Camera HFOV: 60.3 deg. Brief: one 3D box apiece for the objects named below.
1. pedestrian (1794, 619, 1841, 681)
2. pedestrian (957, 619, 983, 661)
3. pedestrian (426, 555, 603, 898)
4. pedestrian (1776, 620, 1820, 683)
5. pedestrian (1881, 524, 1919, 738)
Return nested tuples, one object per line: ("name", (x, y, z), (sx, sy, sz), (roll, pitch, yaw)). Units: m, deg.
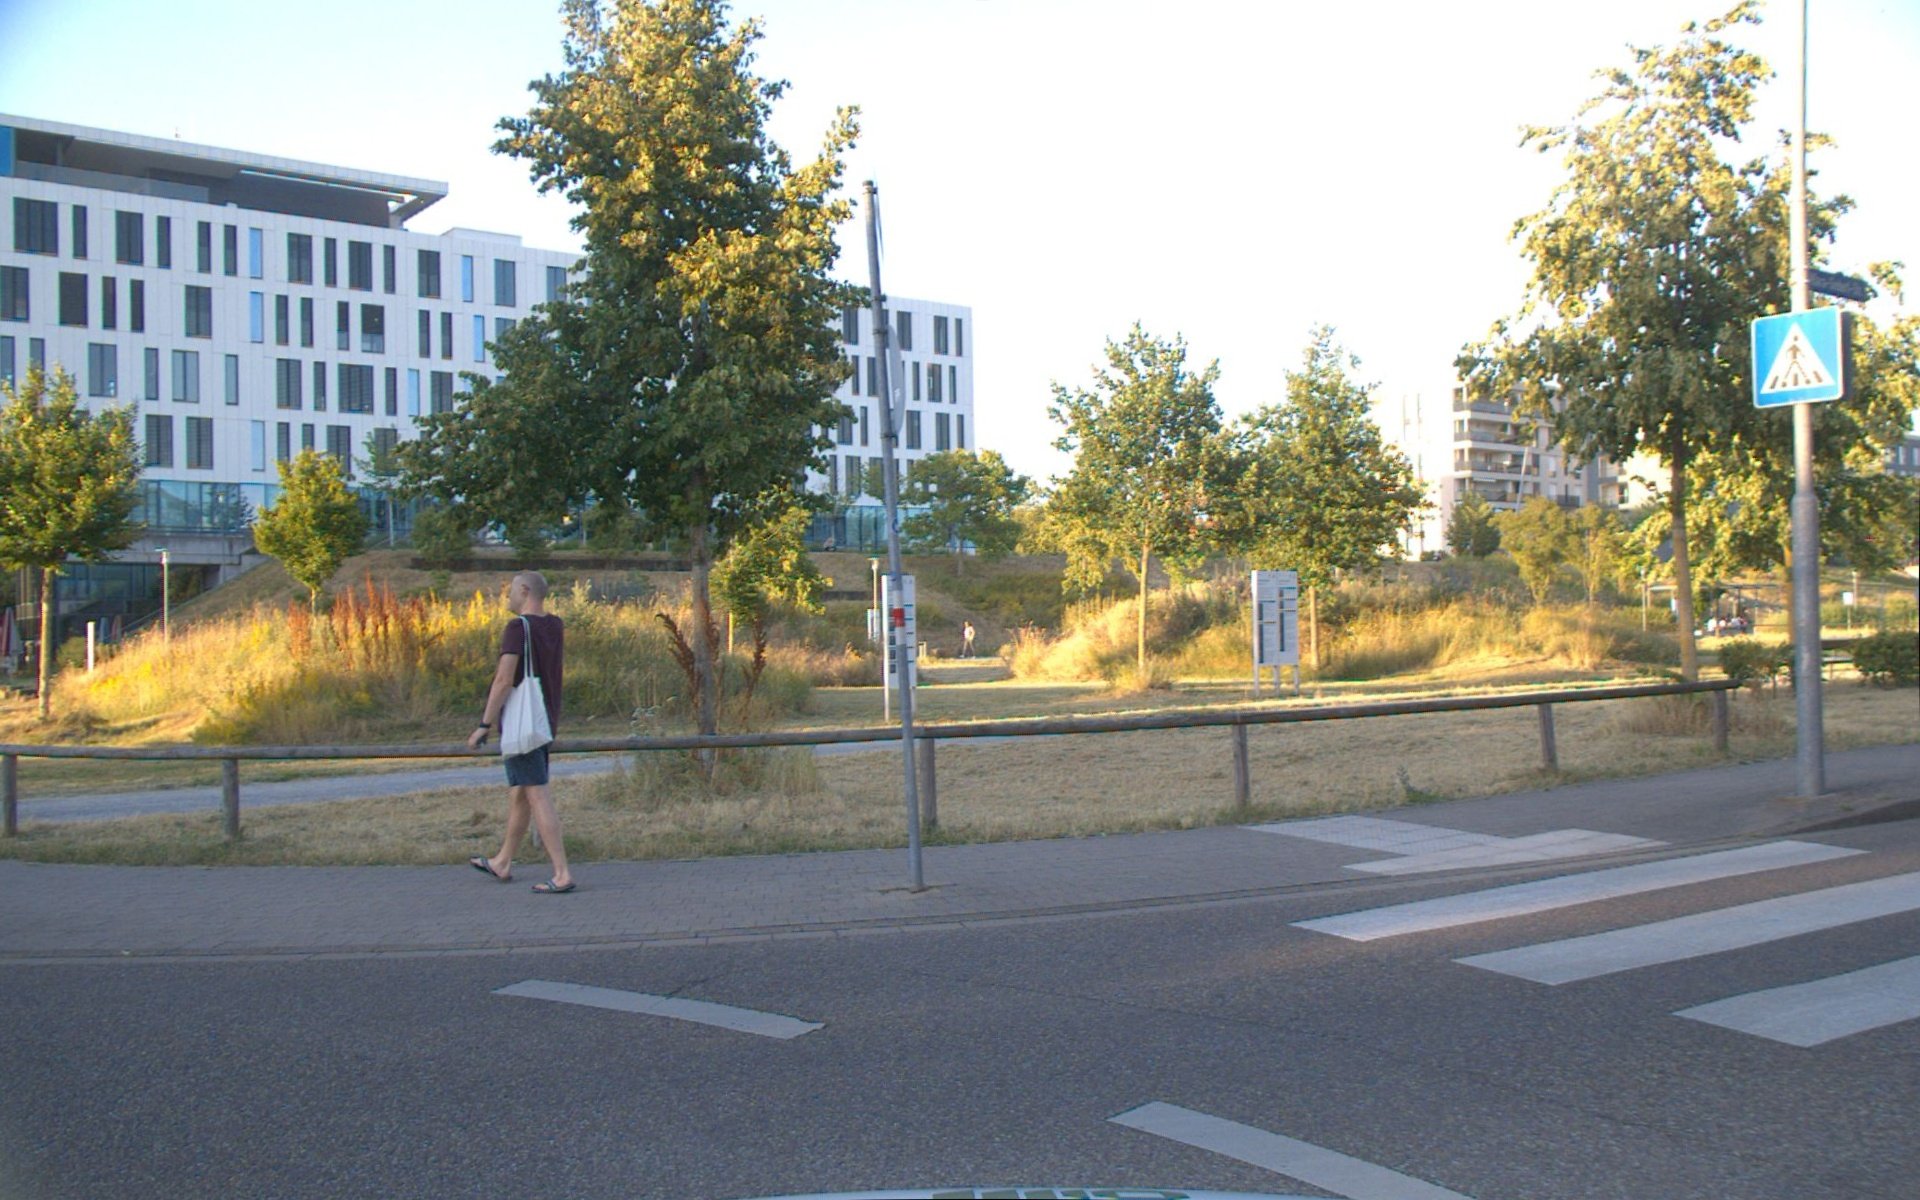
("pedestrian", (14.362, 0.835, 27.694), (0.565, 1.022, 0.493), (0, -1, -38))
("pedestrian", (0.428, 1.750, 72.619), (0.806, 1.797, 0.826), (0, -1, -30))
("pedestrian", (-2.511, 0.673, 9.298), (0.726, 1.815, 0.792), (0, -1, -35))
("pedestrian", (13.826, 0.840, 27.291), (0.476, 1.022, 0.493), (0, -1, -38))
("pedestrian", (8.275, 0.251, 13.747), (0.790, 1.760, 0.760), (0, -1, -28))
